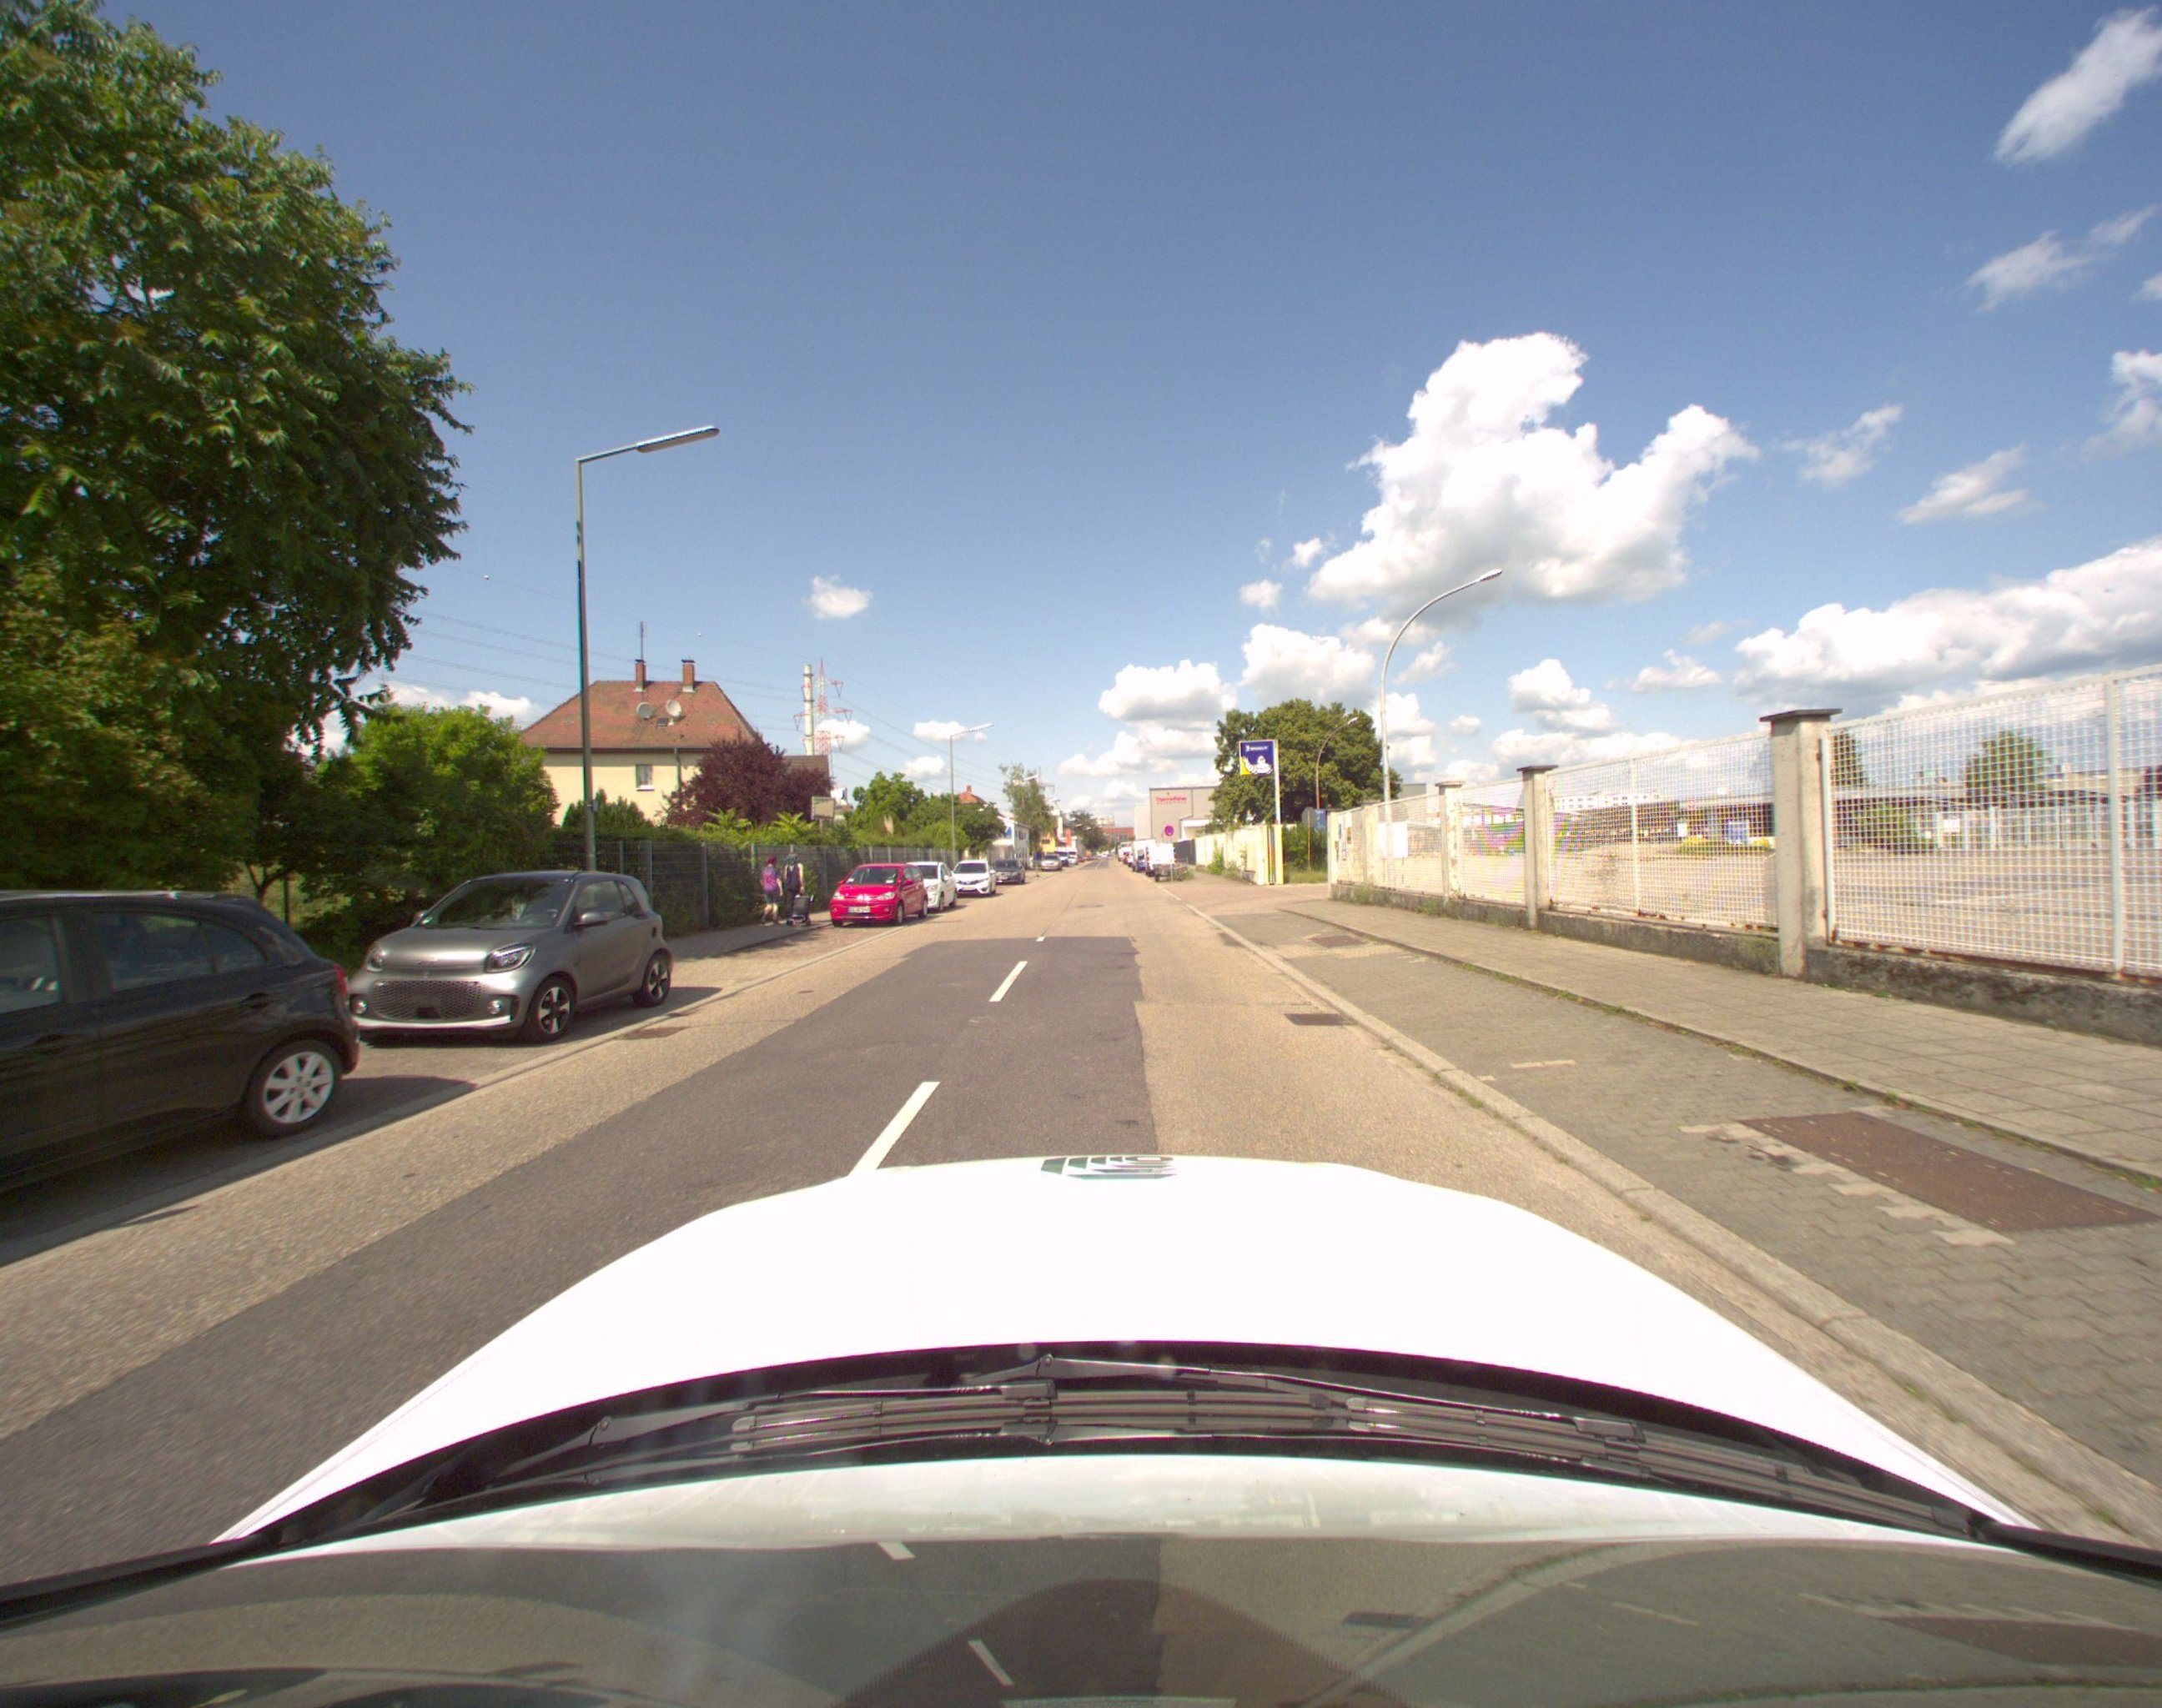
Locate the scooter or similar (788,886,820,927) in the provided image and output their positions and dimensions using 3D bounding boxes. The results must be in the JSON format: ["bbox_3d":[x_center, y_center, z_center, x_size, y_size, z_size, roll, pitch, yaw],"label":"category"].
[{"bbox_3d":[-6.448,1.212,18.973,0.469,0.887,0.710,-2,0,2],"label":"scooter or similar"}]

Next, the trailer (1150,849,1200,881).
[{"bbox_3d":[4.847,0.547,42.657,1.745,1.417,4.544,-5,0,-3],"label":"trailer"}]

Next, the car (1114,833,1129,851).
[{"bbox_3d":[8.264,-2.345,165.417,2.381,3.362,6.642,-4,0,-1],"label":"car"}]

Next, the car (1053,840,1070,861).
[{"bbox_3d":[-2.443,-0.446,106.102,2.023,2.557,6.657,0,0,0],"label":"car"}]

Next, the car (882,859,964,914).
[{"bbox_3d":[-4.795,0.944,25.257,1.639,1.477,4.030,-2,0,1],"label":"car"}]

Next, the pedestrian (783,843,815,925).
[{"bbox_3d":[-6.728,0.702,19.461,0.449,1.894,0.678,-2,0,2],"label":"pedestrian"}]

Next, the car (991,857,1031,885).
[{"bbox_3d":[-3.891,0.906,46.023,1.799,1.418,4.497,0,1,1],"label":"car"}]

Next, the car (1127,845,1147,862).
[{"bbox_3d":[6.167,-0.082,90.560,1.928,1.693,4.682,-5,1,2],"label":"car"}]

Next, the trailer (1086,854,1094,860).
[{"bbox_3d":[2.291,0.756,204.479,1.986,1.556,4.255,-2,0,2],"label":"trailer"}]

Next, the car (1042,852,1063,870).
[{"bbox_3d":[-2.912,0.668,83.473,1.784,1.719,4.754,0,0,2],"label":"car"}]

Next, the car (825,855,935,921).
[{"bbox_3d":[-4.917,0.772,20.427,1.659,1.467,3.746,-1,0,3],"label":"car"}]

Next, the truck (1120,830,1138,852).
[{"bbox_3d":[7.906,-2.120,134.594,2.449,3.292,6.822,-7,0,2],"label":"truck"}]

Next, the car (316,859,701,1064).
[{"bbox_3d":[-5.526,0.907,8.420,1.645,1.645,3.273,1,1,0],"label":"car"}]

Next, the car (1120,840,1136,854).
[{"bbox_3d":[6.751,-1.028,117.204,2.045,1.903,5.151,-3,1,3],"label":"car"}]

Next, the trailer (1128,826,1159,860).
[{"bbox_3d":[5.478,-0.922,72.174,2.196,2.736,6.223,-5,0,1],"label":"trailer"}]

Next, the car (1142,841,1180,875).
[{"bbox_3d":[5.144,0.223,53.069,1.986,2.013,5.652,-3,0,2],"label":"car"}]

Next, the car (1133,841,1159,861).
[{"bbox_3d":[5.199,-0.226,65.394,1.685,1.460,4.071,-5,0,1],"label":"car"}]

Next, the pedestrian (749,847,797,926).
[{"bbox_3d":[-7.250,0.753,19.224,0.705,1.801,0.916,-2,0,1],"label":"pedestrian"}]

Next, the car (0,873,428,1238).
[{"bbox_3d":[-5.652,0.921,3.830,1.838,1.508,4.002,1,1,2],"label":"car"}]

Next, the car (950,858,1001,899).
[{"bbox_3d":[-4.416,0.981,34.508,1.615,1.522,4.174,-2,1,-1],"label":"car"}]
